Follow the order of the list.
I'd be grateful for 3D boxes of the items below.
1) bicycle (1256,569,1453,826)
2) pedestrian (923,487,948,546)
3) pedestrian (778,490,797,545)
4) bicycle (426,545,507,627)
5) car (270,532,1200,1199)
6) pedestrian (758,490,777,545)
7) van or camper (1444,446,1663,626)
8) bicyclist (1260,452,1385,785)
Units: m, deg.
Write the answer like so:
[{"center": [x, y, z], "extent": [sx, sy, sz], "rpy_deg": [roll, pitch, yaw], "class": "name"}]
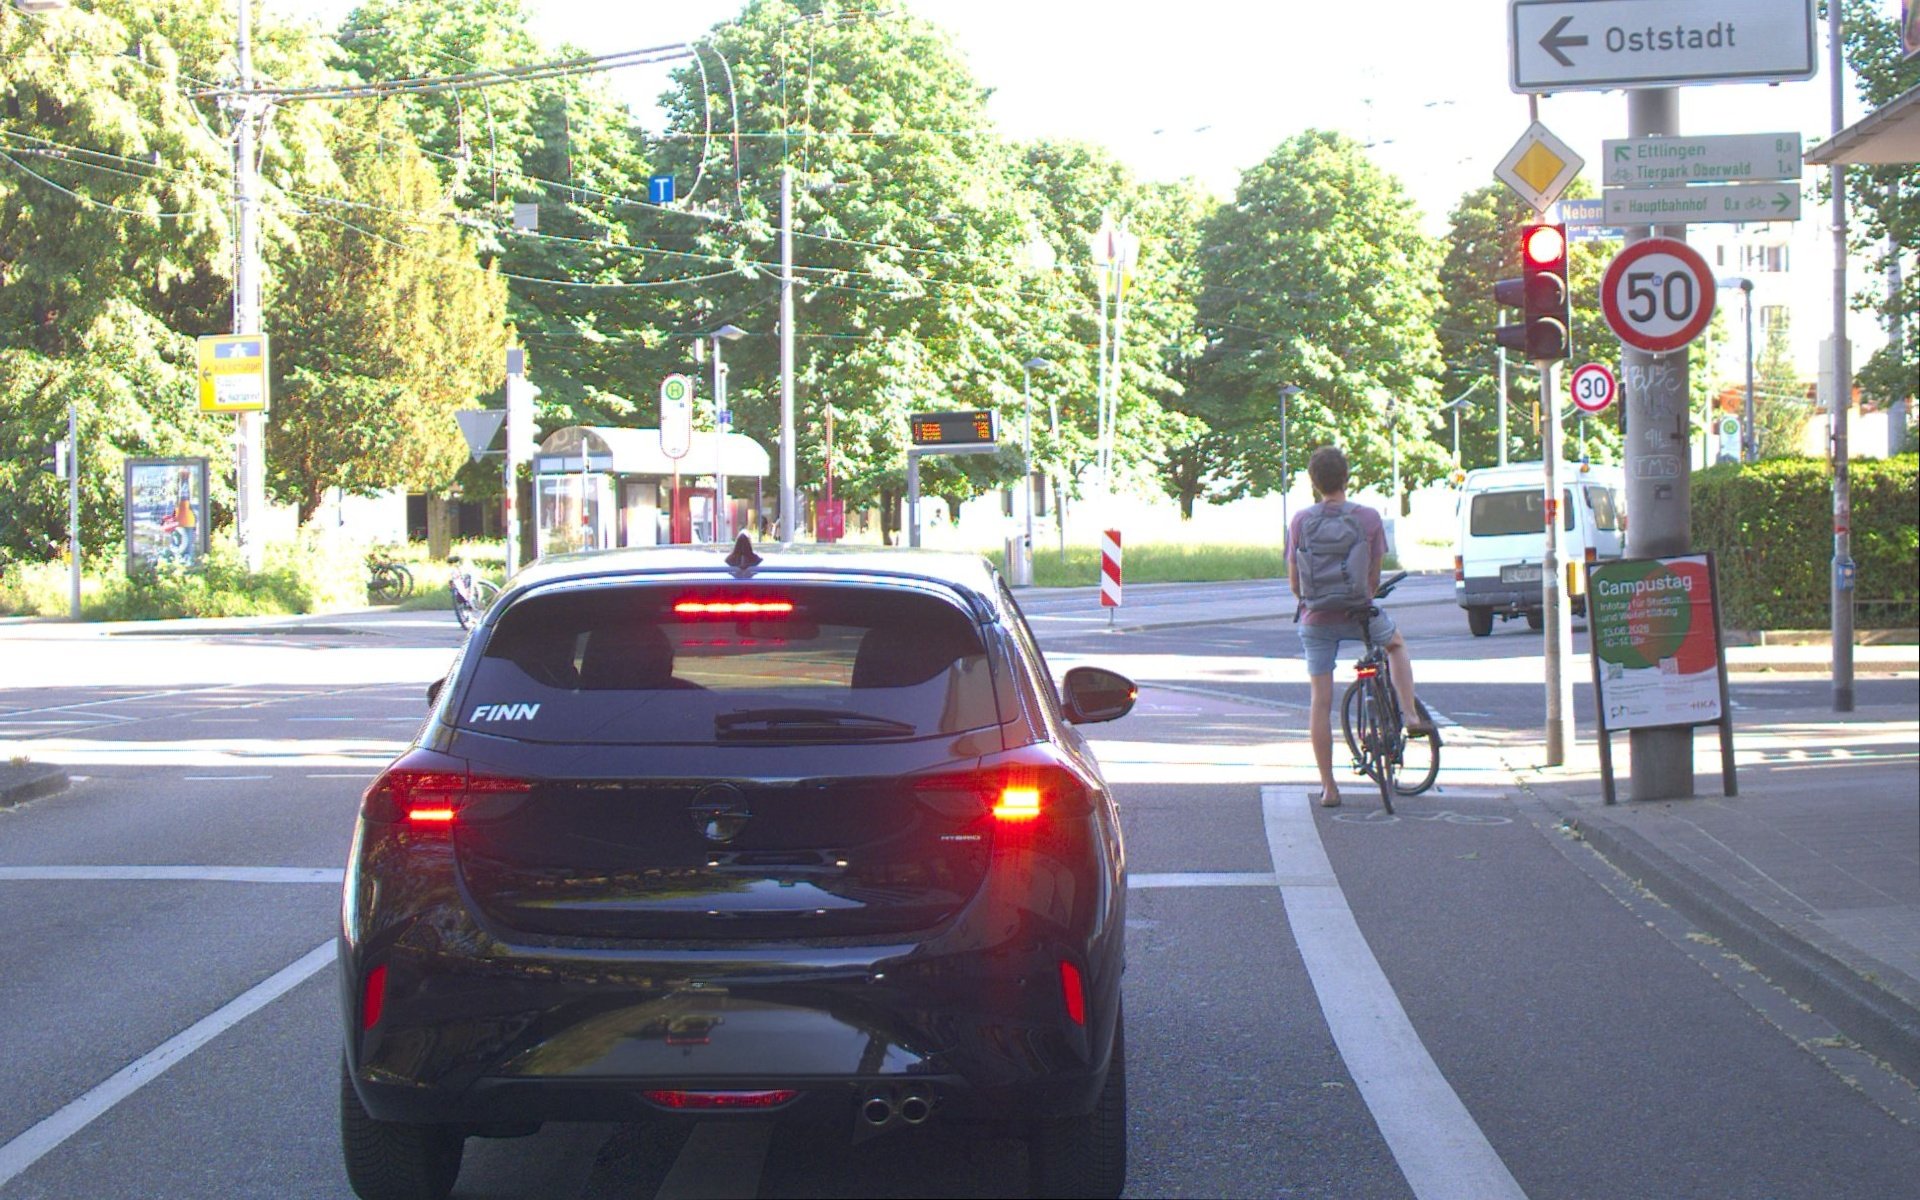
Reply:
[{"center": [2.084, 0.471, 17.943], "extent": [0.753, 1.231, 2.014], "rpy_deg": [0, 1, 14], "class": "bicycle"}, {"center": [-0.785, -2.676, 109.793], "extent": [0.603, 1.865, 0.519], "rpy_deg": [1, 0, -30], "class": "pedestrian"}, {"center": [-5.916, -2.831, 117.976], "extent": [0.603, 1.865, 0.519], "rpy_deg": [1, 0, -6], "class": "pedestrian"}, {"center": [-6.651, -0.205, 46.406], "extent": [0.796, 1.061, 2.185], "rpy_deg": [0, 1, -1], "class": "bicycle"}, {"center": [-0.469, 0.567, 8.815], "extent": [1.840, 1.457, 3.984], "rpy_deg": [0, 1, -1], "class": "car"}, {"center": [-6.647, -2.846, 118.386], "extent": [0.603, 1.865, 0.519], "rpy_deg": [1, 0, -6], "class": "pedestrian"}, {"center": [8.049, -0.841, 46.313], "extent": [2.031, 2.302, 4.535], "rpy_deg": [1, 1, 21], "class": "van or camper"}, {"center": [1.873, 0.088, 17.734], "extent": [0.534, 1.686, 0.567], "rpy_deg": [0, 1, 17], "class": "bicyclist"}]
